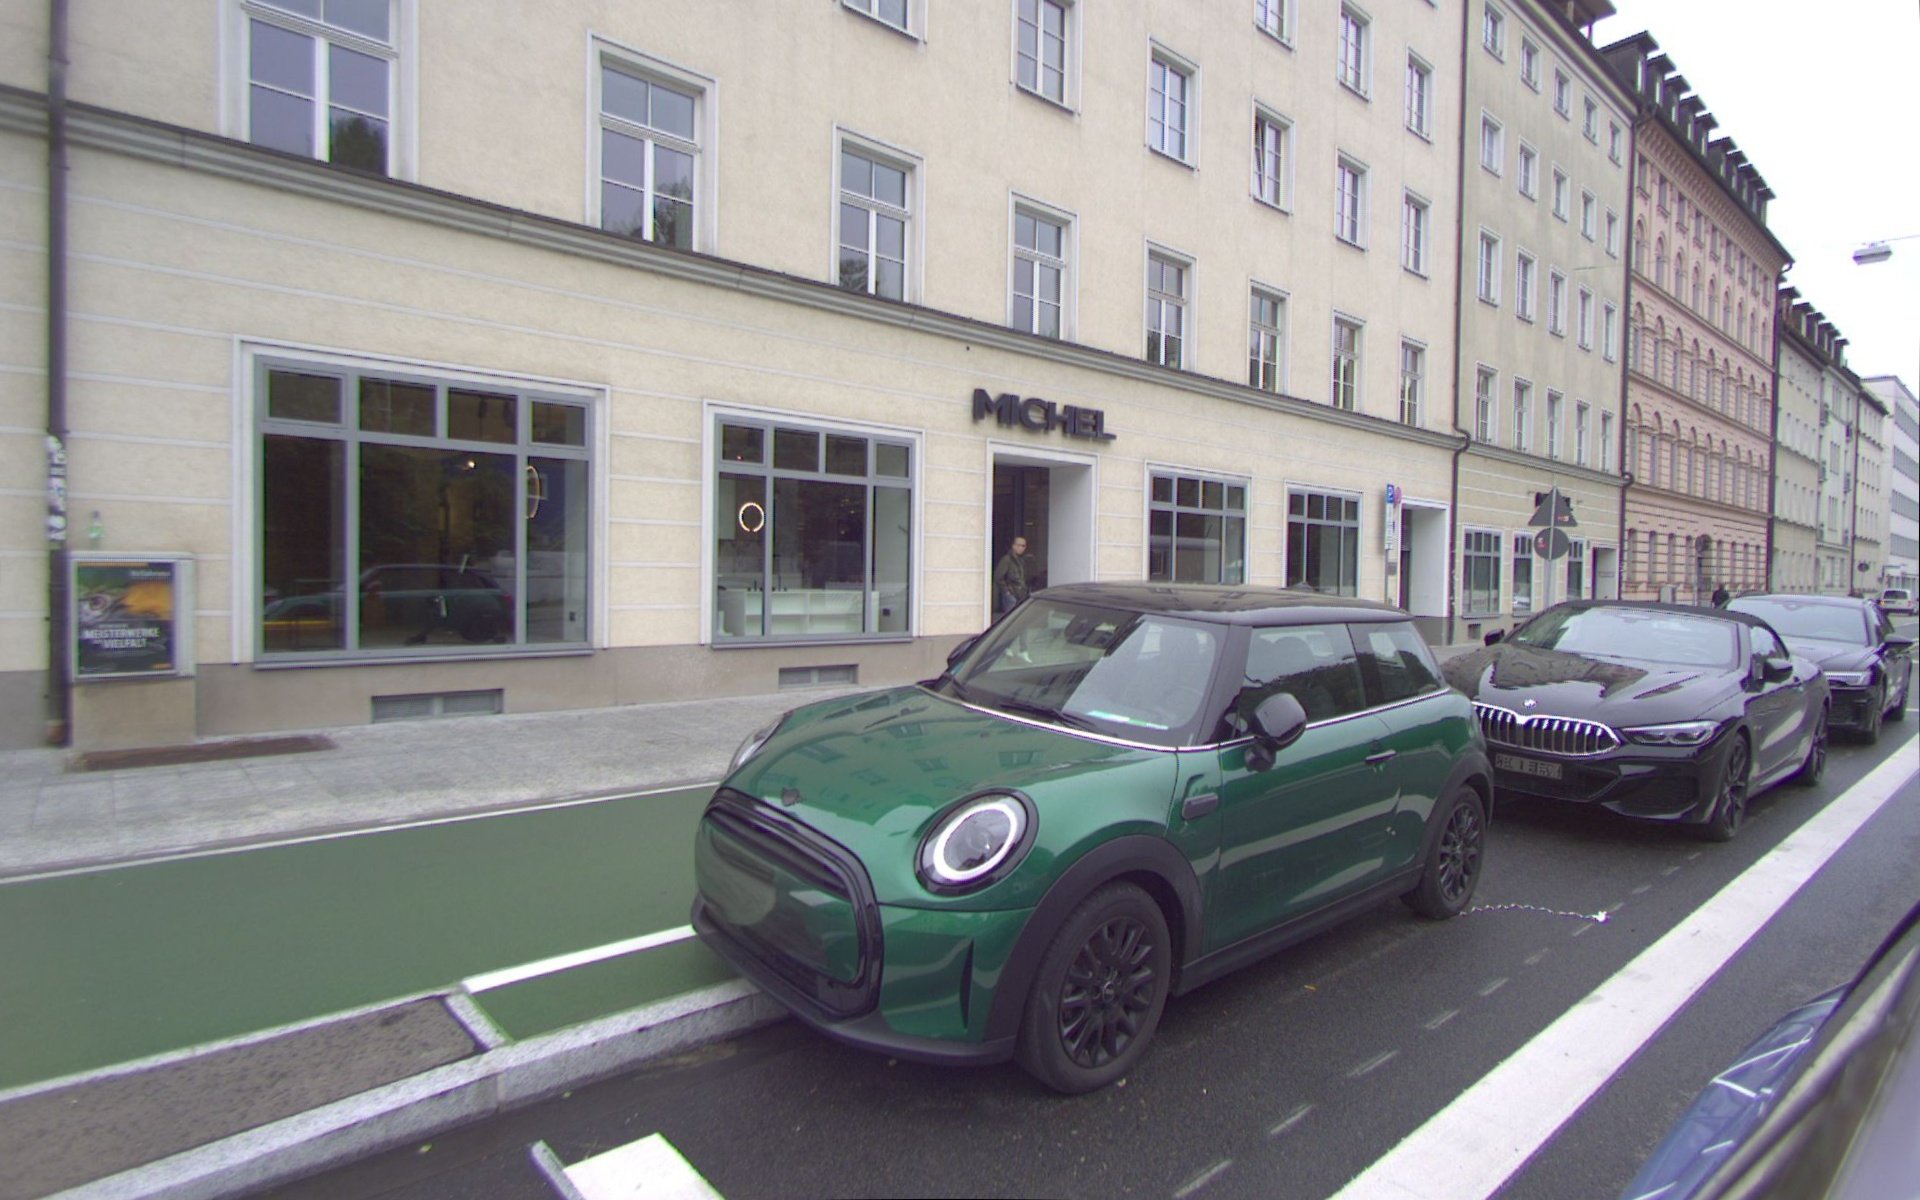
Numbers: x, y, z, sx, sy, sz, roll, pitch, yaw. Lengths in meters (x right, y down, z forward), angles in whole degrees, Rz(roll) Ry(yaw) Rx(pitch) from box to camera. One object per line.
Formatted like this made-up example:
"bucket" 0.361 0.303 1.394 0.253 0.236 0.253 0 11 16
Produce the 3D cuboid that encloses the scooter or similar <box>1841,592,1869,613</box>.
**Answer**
"scooter or similar" 51.637 0.132 58.377 1.063 1.207 0.451 2 1 20

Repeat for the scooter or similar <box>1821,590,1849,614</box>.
"scooter or similar" 47.897 0.104 55.377 1.055 1.261 0.554 1 1 -6

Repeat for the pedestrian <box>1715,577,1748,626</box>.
"pedestrian" 28.388 0.040 37.244 0.819 1.767 0.795 0 1 -40

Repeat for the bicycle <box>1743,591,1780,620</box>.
"bicycle" 34.281 0.232 43.283 1.690 1.191 0.558 0 1 -27

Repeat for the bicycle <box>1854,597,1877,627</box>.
"bicycle" 34.278 0.445 38.309 0.630 1.050 1.987 2 2 42

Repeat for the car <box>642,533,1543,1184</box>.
"car" 0.807 0.598 4.260 3.761 1.540 1.678 0 0 -40

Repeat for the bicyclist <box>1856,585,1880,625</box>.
"bicyclist" 34.346 0.166 38.270 0.630 1.486 0.643 2 1 42

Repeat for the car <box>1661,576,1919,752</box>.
"car" 9.685 0.568 11.514 4.386 1.498 1.812 0 5 -43

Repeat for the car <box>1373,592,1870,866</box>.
"car" 5.088 0.661 7.488 4.636 1.425 1.829 0 0 -40

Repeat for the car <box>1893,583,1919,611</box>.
"car" 65.267 -0.238 69.224 3.931 1.855 1.764 0 1 -42

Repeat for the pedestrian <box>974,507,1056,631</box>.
"pedestrian" 0.784 -0.452 14.563 0.767 1.710 0.861 0 2 -39
